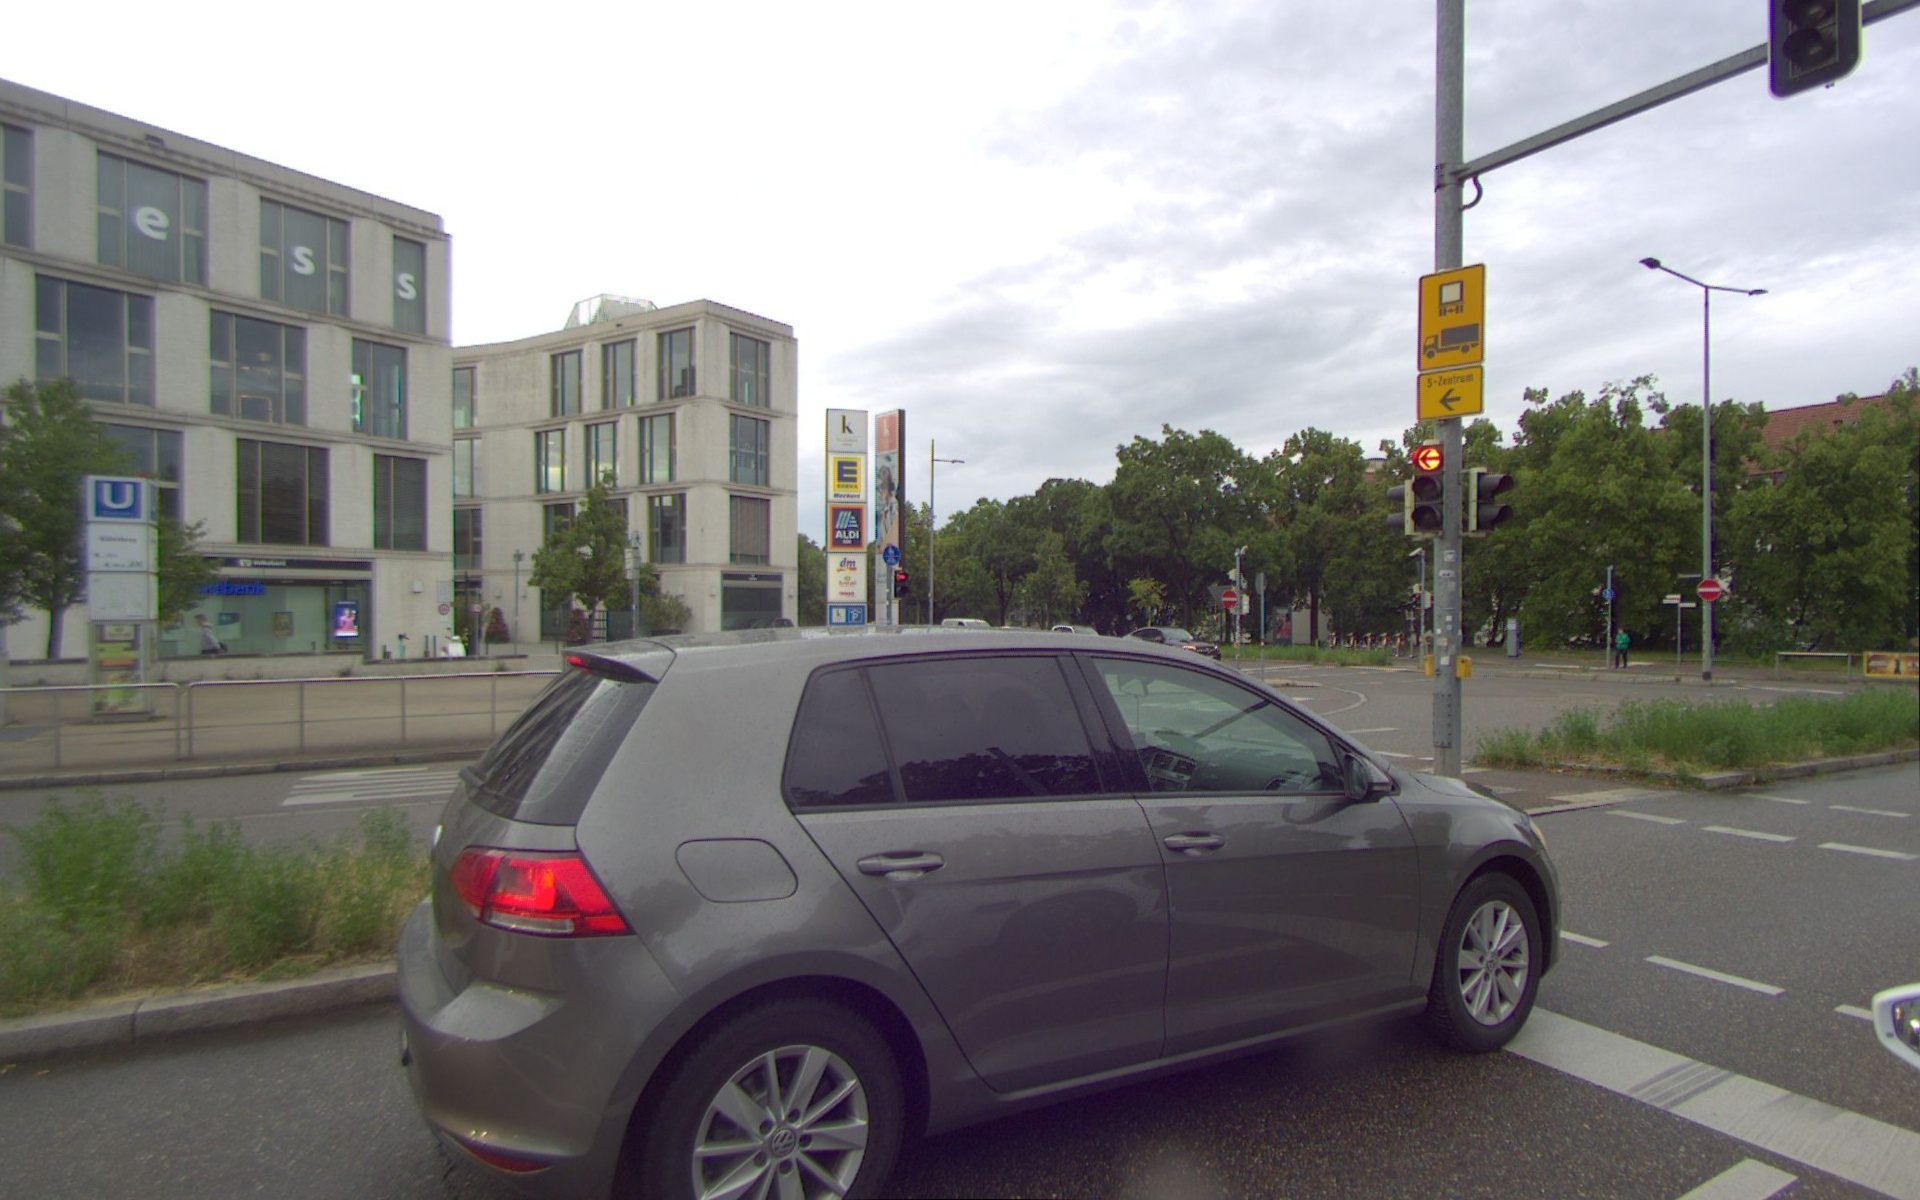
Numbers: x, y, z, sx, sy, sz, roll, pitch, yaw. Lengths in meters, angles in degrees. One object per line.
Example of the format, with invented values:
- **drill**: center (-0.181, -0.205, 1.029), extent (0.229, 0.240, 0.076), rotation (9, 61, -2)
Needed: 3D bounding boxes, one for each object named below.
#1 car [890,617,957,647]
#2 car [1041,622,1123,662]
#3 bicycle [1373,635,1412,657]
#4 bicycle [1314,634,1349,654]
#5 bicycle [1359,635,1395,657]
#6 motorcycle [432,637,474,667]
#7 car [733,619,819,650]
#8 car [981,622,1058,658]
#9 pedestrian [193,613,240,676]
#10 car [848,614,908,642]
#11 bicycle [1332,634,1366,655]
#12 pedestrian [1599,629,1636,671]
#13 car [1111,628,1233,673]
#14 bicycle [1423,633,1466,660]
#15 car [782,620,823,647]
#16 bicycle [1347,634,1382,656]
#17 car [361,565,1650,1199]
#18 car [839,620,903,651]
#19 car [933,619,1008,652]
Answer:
- **car**: center (-2.258, 1.885, 60.397), extent (1.976, 1.615, 4.855), rotation (2, 0, -29)
- **car**: center (5.556, 1.907, 46.031), extent (1.976, 1.615, 3.536), rotation (2, 0, -30)
- **bicycle**: center (22.242, 2.358, 51.655), extent (1.959, 1.085, 0.798), rotation (2, 0, -30)
- **bicycle**: center (20.266, 2.400, 54.770), extent (1.959, 1.085, 0.649), rotation (2, 0, -30)
- **bicycle**: center (21.671, 2.392, 52.180), extent (1.959, 1.085, 0.649), rotation (2, 0, -30)
- **motorcycle**: center (-14.099, 1.444, 27.925), extent (1.081, 0.750, 0.522), rotation (2, 0, 29)
- **car**: center (-9.187, 1.716, 50.321), extent (1.968, 1.483, 3.985), rotation (0, -2, 37)
- **car**: center (2.963, 1.994, 50.876), extent (1.976, 1.615, 4.185), rotation (2, 0, -29)
- **pedestrian**: center (-19.426, 1.151, 26.238), extent (0.907, 1.626, 0.755), rotation (2, -1, -40)
- **car**: center (-5.460, 1.815, 66.116), extent (1.977, 1.615, 4.852), rotation (2, 0, -31)
- **bicycle**: center (20.937, 2.386, 54.040), extent (1.959, 1.085, 0.649), rotation (2, 0, -30)
- **pedestrian**: center (27.928, 2.119, 42.666), extent (0.933, 1.750, 0.919), rotation (2, 0, -26)
- **car**: center (8.395, 1.963, 40.245), extent (1.976, 1.520, 5.001), rotation (2, 0, -29)
- **bicycle**: center (23.759, 2.276, 49.267), extent (1.959, 1.266, 0.986), rotation (2, 0, -30)
- **car**: center (-12.656, 2.663, 80.516), extent (1.976, 2.040, 3.969), rotation (1, -1, -29)
- **bicycle**: center (21.370, 2.375, 53.040), extent (1.959, 1.085, 0.649), rotation (2, 0, -30)
- **car**: center (0.394, 0.752, 3.617), extent (4.325, 1.501, 1.807), rotation (2, -1, -30)
- **car**: center (-5.330, 2.110, 59.702), extent (1.976, 1.615, 4.855), rotation (2, 0, -29)
- **car**: center (0.531, 1.943, 55.409), extent (1.976, 1.615, 4.855), rotation (2, 0, -29)
